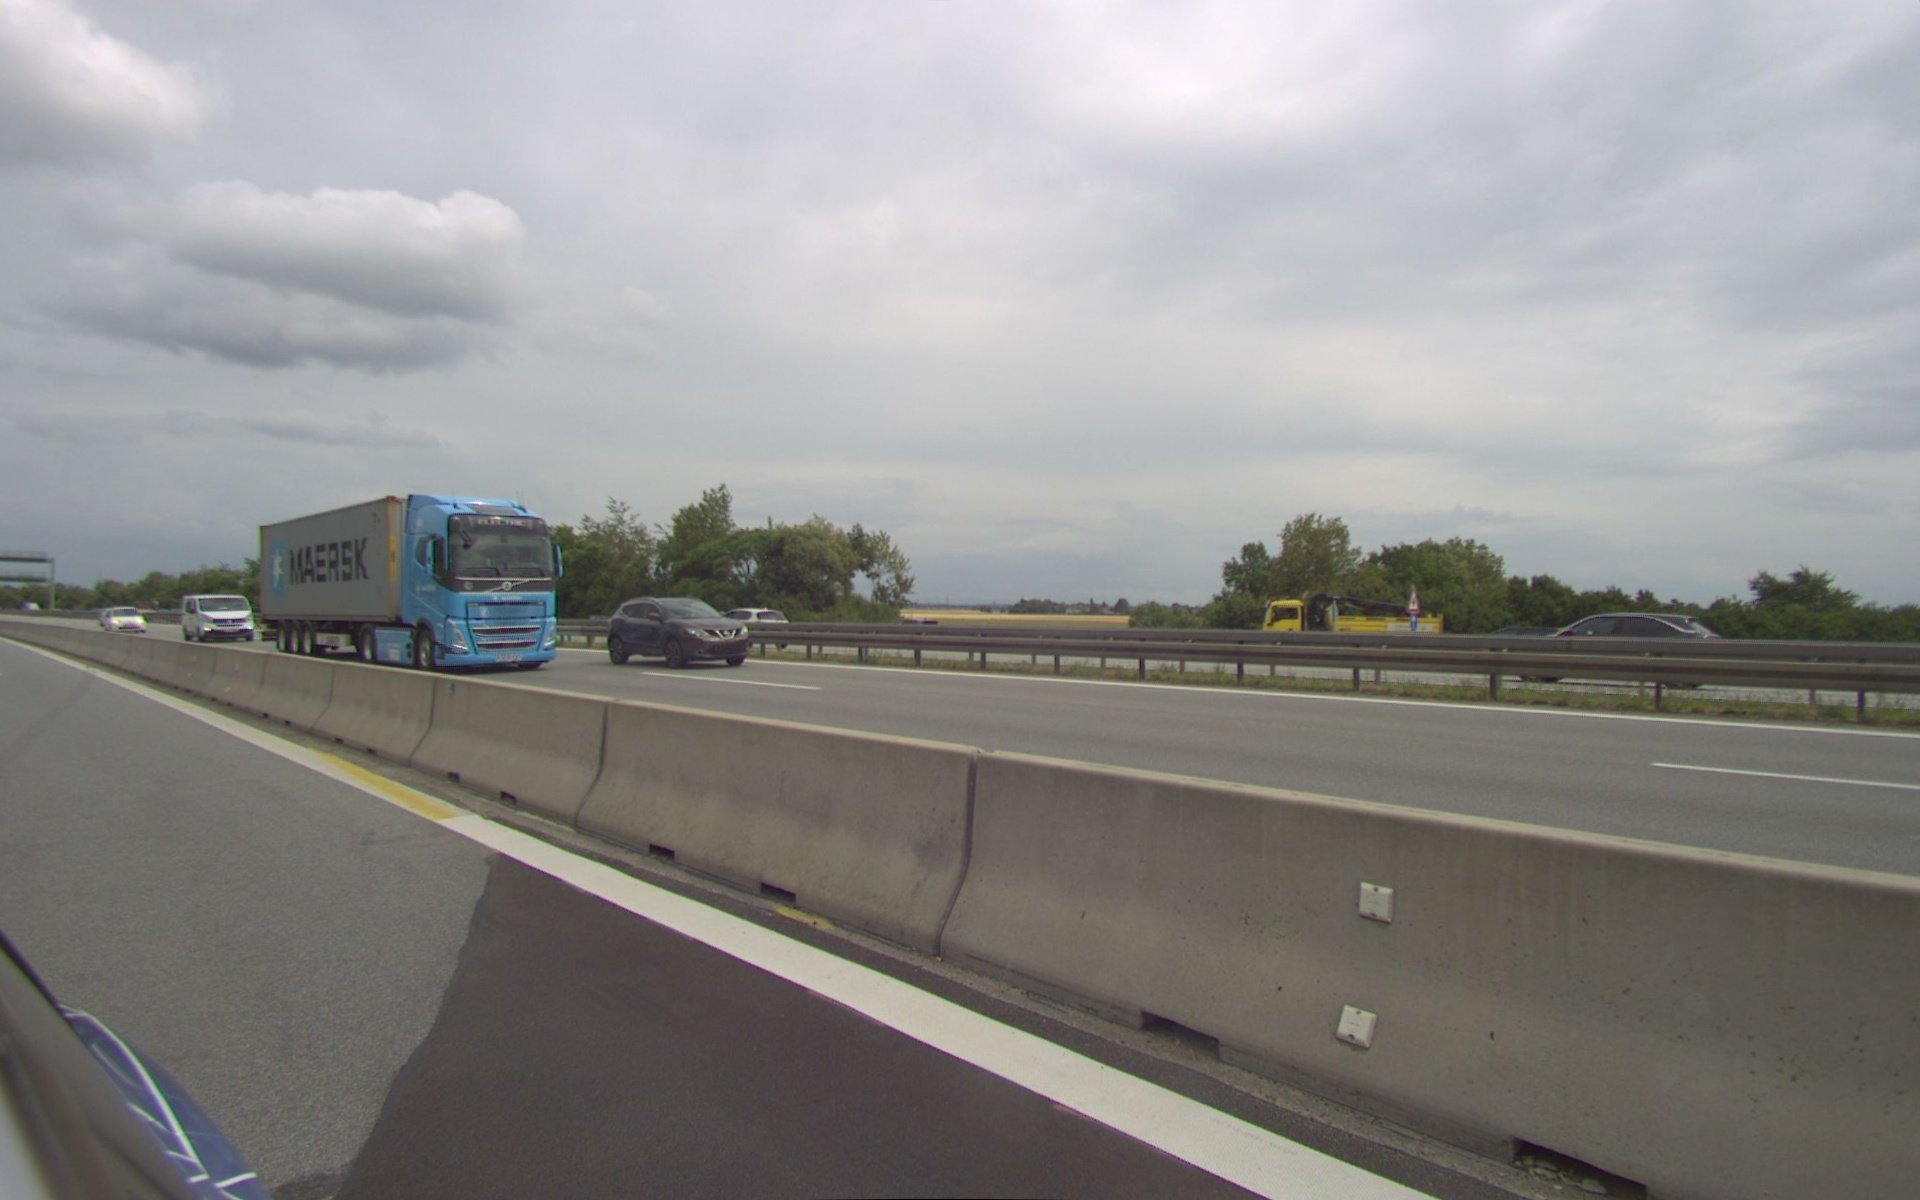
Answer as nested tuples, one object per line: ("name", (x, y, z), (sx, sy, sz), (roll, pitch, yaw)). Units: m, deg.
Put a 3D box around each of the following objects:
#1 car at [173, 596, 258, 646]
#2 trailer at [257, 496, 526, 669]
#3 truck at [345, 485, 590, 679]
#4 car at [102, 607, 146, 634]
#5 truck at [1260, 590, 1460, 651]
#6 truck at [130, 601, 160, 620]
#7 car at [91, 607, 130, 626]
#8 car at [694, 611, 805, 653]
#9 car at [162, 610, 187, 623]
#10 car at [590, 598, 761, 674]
("car", (-31.438, 0.846, 42.679), (5.132, 1.952, 1.978), (0, 1, 43))
("trailer", (-16.480, -0.406, 28.611), (12.383, 3.954, 3.200), (0, 1, 44))
("truck", (-11.835, -0.357, 24.043), (6.612, 3.941, 3.210), (0, 0, 44))
("car", (-48.185, 1.148, 58.313), (1.661, 1.496, 3.777), (0, 0, -45))
("truck", (19.137, 0.977, 49.099), (8.699, 2.795, 2.902), (0, 0, 15))
("truck", (-106.197, 1.353, 131.872), (6.201, 2.388, 2.251), (-1, -1, 44))
("car", (-66.900, 1.283, 79.676), (4.204, 1.379, 1.733), (0, 0, 42))
("car", (-7.688, 1.106, 36.837), (3.996, 1.434, 1.874), (-1, 0, 40))
("car", (-87.954, 1.832, 113.359), (1.732, 1.379, 4.002), (0, 0, -45))
("car", (-6.724, 0.763, 23.644), (4.418, 1.610, 1.871), (0, 0, 43))
